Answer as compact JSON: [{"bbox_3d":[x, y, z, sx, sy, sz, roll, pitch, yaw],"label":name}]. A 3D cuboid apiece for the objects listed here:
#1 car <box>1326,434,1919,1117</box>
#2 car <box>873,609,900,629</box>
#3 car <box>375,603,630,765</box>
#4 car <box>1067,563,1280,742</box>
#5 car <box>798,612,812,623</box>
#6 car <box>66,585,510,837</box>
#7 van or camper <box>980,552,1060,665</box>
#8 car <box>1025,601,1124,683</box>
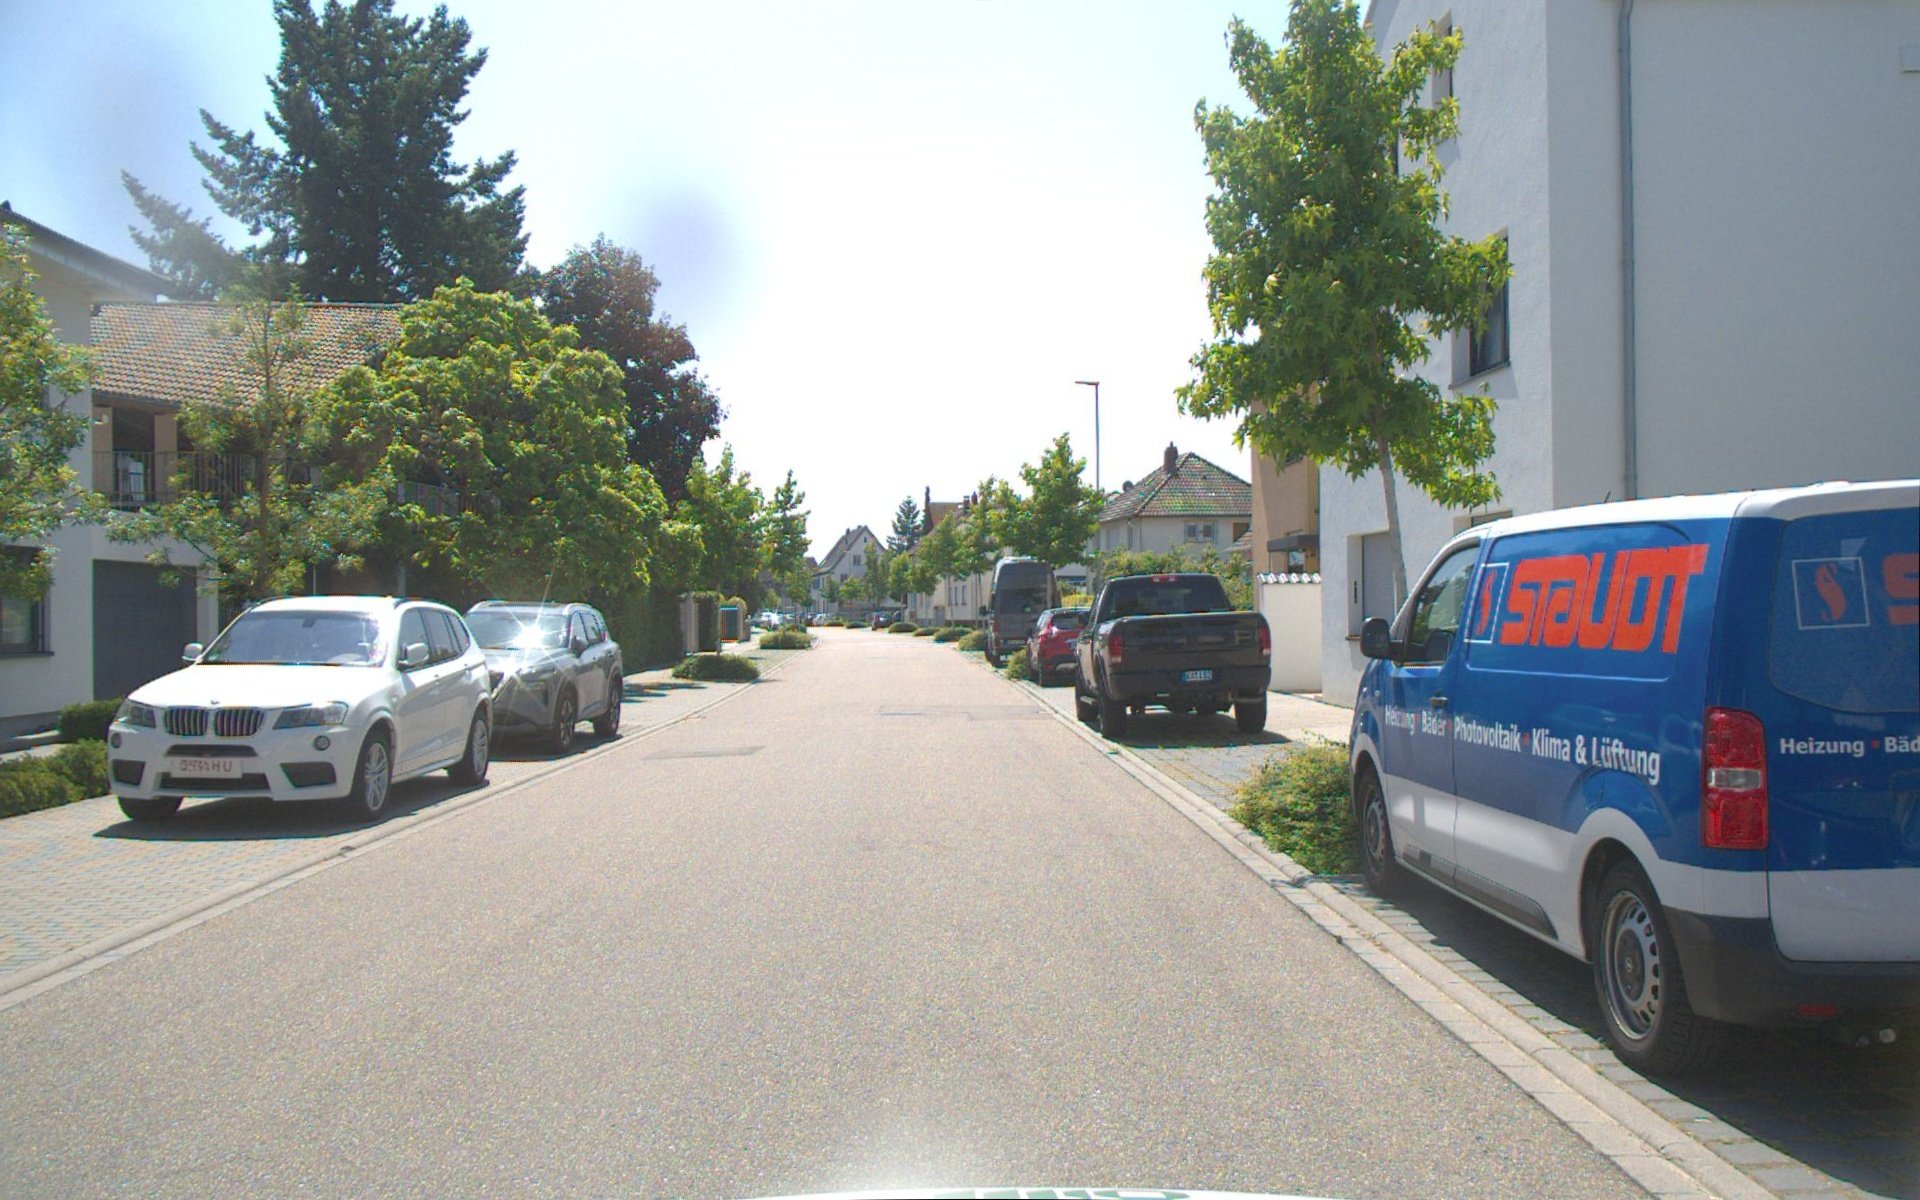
[{"bbox_3d":[3.163,0.489,7.103,2.056,1.915,4.842,-1,0,0],"label":"car"},{"bbox_3d":[-6.232,1.575,140.282,1.955,1.601,3.994,-1,0,-7],"label":"car"},{"bbox_3d":[-5.378,0.915,20.026,1.953,1.710,4.213,-1,0,-1],"label":"car"},{"bbox_3d":[2.622,0.616,21.593,1.953,1.981,5.213,-2,0,-1],"label":"car"},{"bbox_3d":[-18.800,2.110,200.471,1.631,1.272,3.926,-1,-1,-7],"label":"car"},{"bbox_3d":[-5.268,0.776,13.718,1.888,1.716,4.497,-1,0,-1],"label":"car"},{"bbox_3d":[1.640,0.244,46.364,1.953,2.993,3.999,-1,0,-2],"label":"van or camper"},{"bbox_3d":[2.409,0.865,35.522,1.637,1.623,3.553,-1,0,-3],"label":"car"}]
